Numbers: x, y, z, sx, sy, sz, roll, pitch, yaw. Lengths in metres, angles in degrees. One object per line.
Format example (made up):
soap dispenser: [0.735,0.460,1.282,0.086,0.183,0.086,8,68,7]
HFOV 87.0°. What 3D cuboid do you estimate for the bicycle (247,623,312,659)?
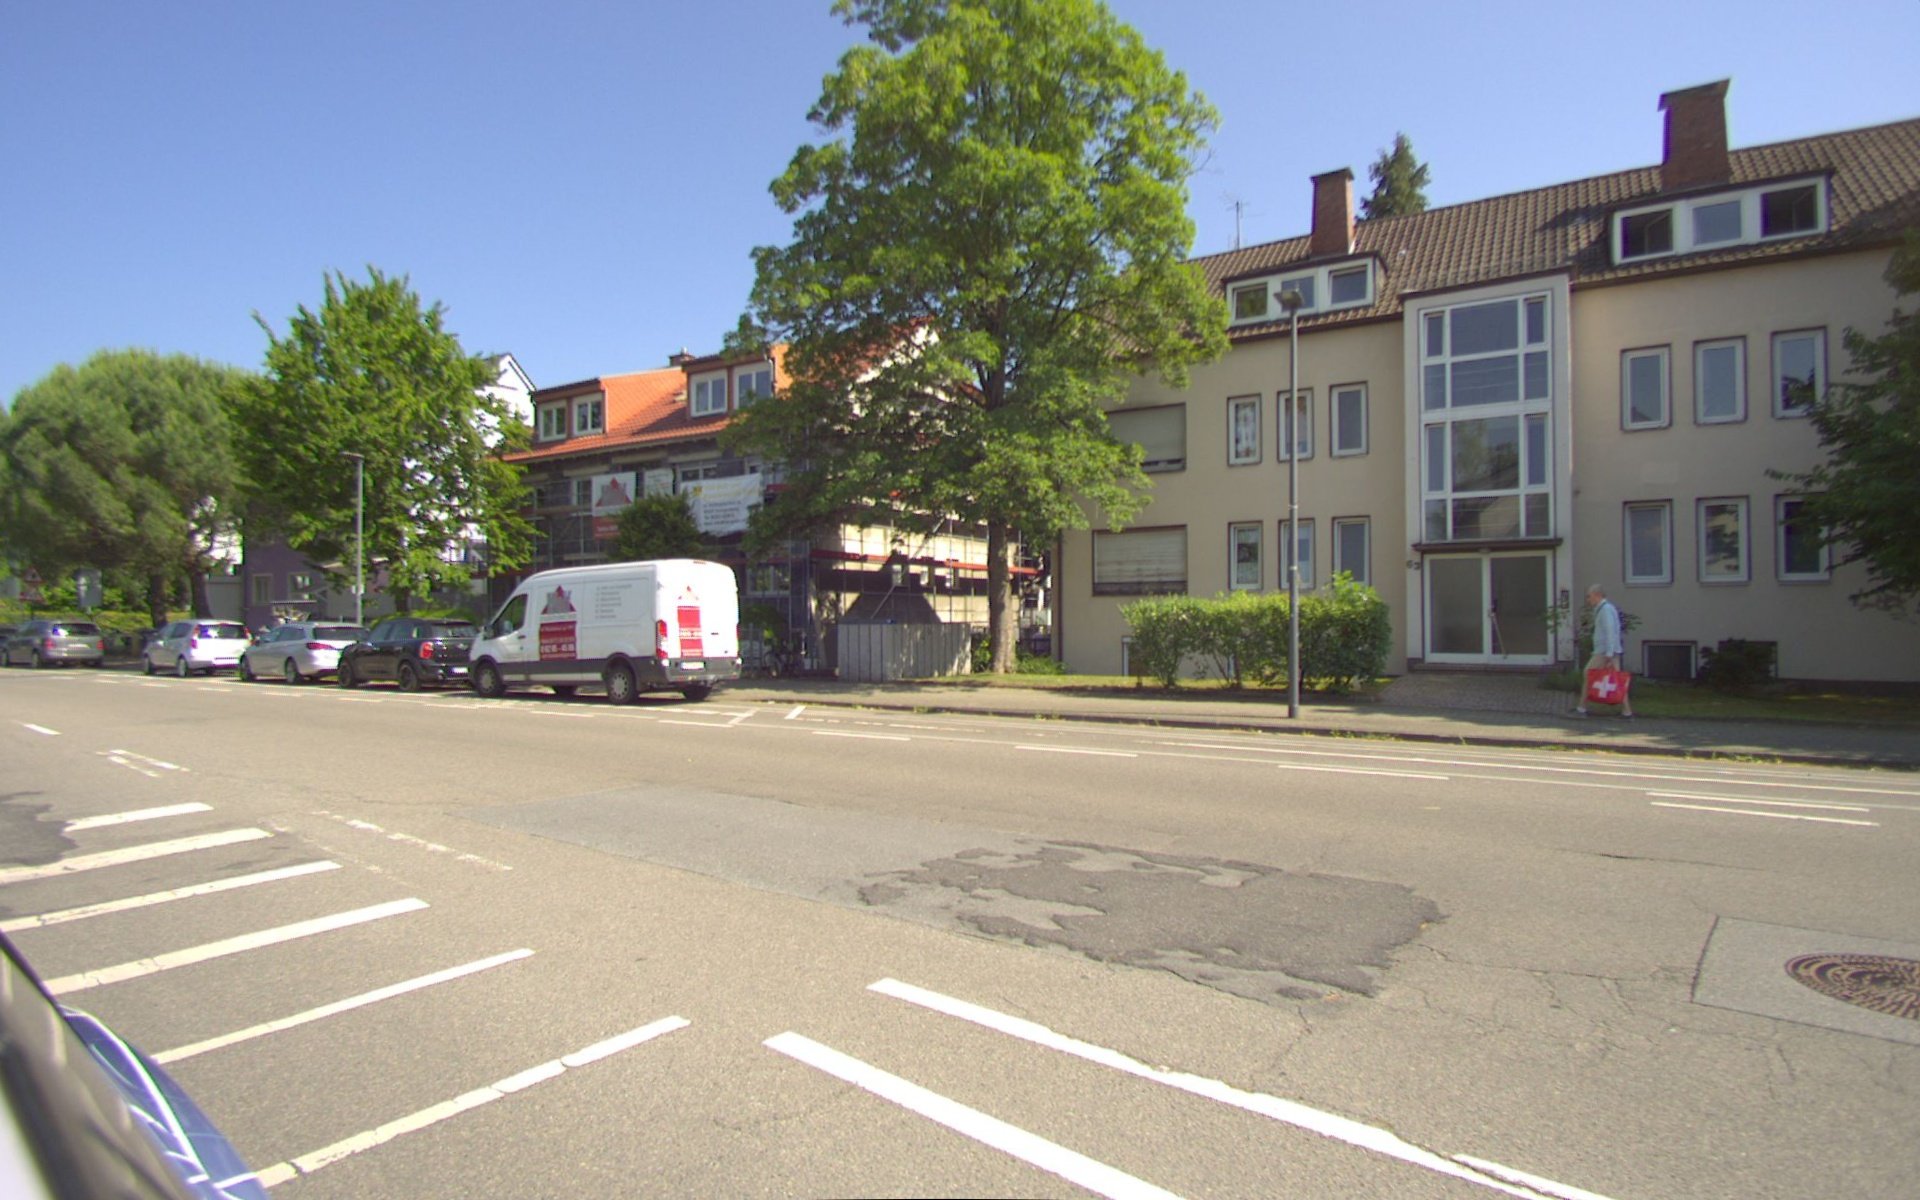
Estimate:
bicycle: [-27.624,1.664,41.119,0.500,1.394,2.157,-2,-3,29]

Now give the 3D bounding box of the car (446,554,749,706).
car: [-6.934,0.592,19.112,5.929,2.516,2.074,-2,-3,30]

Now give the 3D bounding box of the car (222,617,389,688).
car: [-15.966,1.250,24.609,4.659,1.571,1.706,-2,-3,34]

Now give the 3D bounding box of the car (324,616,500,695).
car: [-11.993,1.179,22.081,3.989,1.571,1.706,-2,-3,34]

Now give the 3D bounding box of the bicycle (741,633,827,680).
bicycle: [-4.059,1.283,23.487,0.774,1.008,2.050,-1,-1,34]

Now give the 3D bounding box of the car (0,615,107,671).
car: [-30.629,1.432,33.885,4.570,1.778,1.827,-2,-3,32]

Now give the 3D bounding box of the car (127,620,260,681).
car: [-21.343,1.383,28.144,3.989,1.571,1.706,-2,-3,34]

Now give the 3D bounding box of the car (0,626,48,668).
car: [-35.167,1.709,36.831,4.180,1.468,1.827,-2,-3,32]

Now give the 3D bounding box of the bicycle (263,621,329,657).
bicycle: [-25.968,1.531,39.621,0.501,1.394,2.157,-2,-3,29]

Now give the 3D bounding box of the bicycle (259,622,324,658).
bicycle: [-26.736,1.601,40.497,0.501,1.394,2.157,-2,-3,29]

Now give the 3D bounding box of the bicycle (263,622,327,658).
bicycle: [-27.010,1.627,41.132,0.501,1.394,2.157,-2,-3,29]

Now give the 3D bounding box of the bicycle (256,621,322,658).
bicycle: [-26.430,1.562,39.921,0.501,1.394,2.157,-2,-3,29]

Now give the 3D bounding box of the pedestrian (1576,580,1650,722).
pedestrian: [8.649,0.650,13.398,0.724,1.793,0.964,-1,-1,37]
